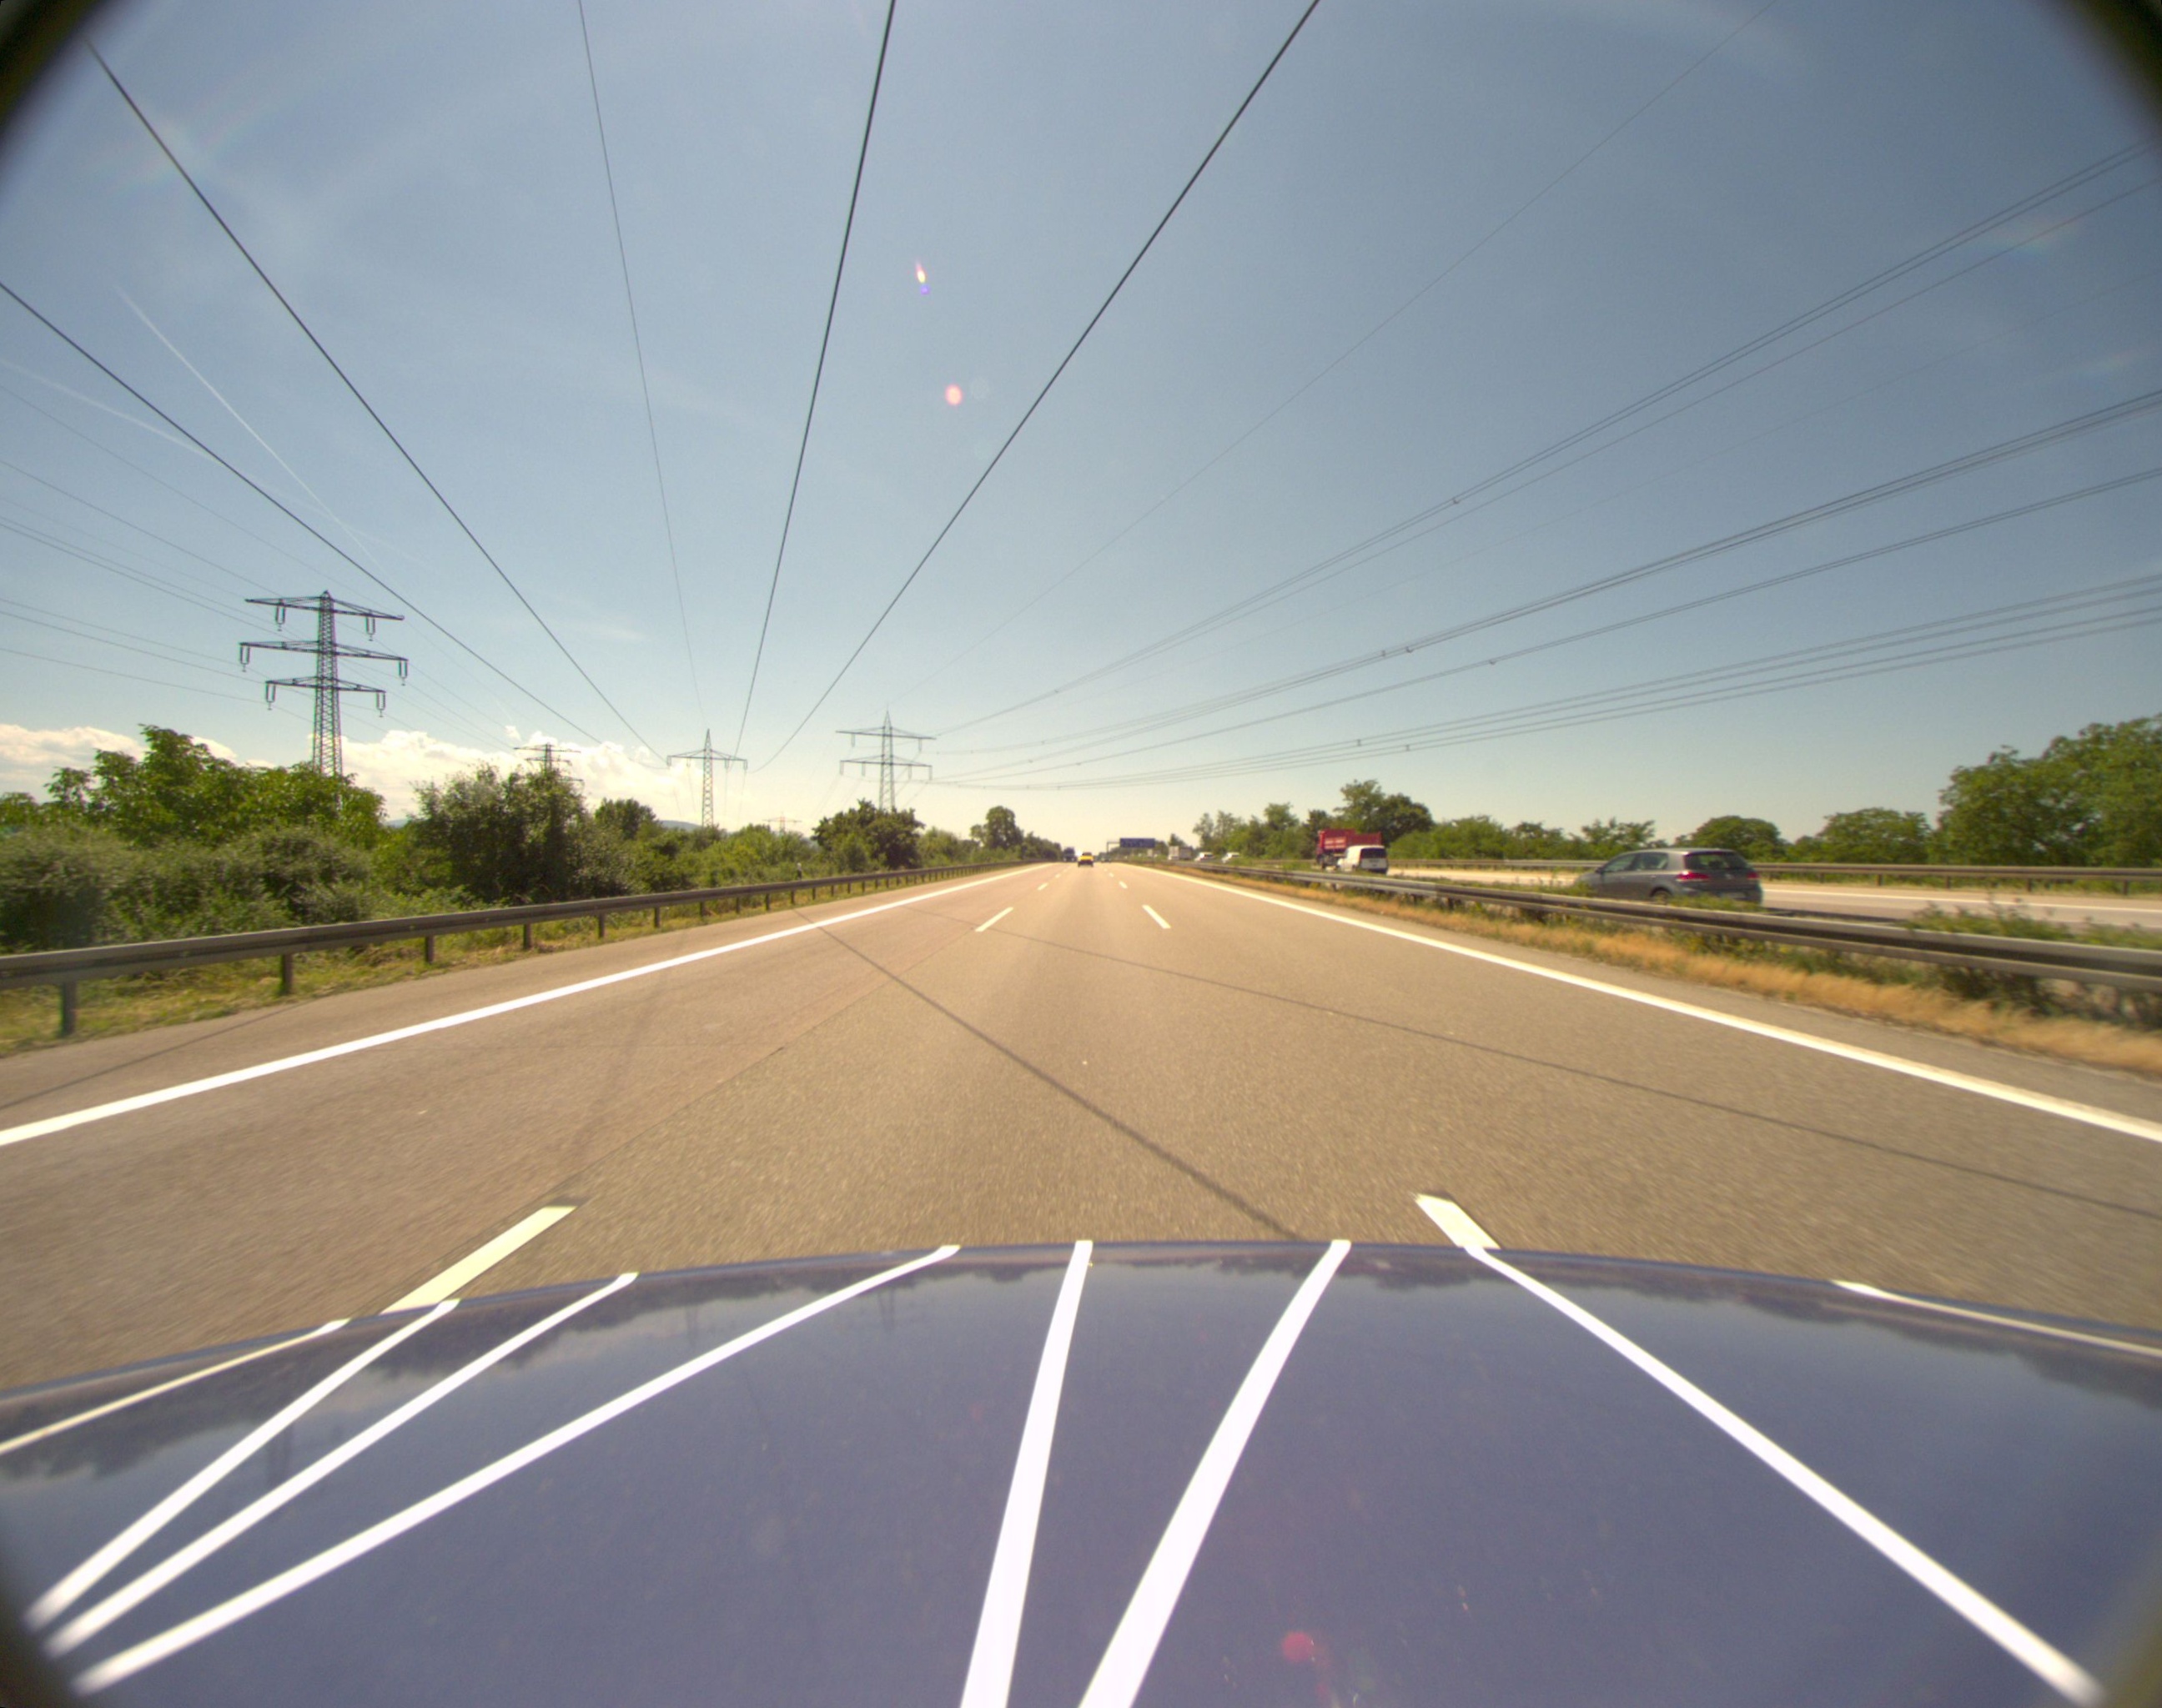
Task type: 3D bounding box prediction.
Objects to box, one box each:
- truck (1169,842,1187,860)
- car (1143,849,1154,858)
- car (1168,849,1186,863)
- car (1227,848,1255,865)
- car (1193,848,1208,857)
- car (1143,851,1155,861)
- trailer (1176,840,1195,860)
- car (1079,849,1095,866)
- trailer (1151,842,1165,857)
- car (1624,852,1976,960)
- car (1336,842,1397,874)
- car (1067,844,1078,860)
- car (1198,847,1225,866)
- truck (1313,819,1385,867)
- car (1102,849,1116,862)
[{"bbox_3d":[21.996,-0.681,172.286,2.699,3.926,10.593,-2,0,0],"label":"truck"},{"bbox_3d":[18.986,-0.139,214.104,2.489,2.564,7.121,-2,0,0],"label":"car"},{"bbox_3d":[14.460,0.349,114.517,1.998,2.002,4.921,-2,0,1],"label":"car"},{"bbox_3d":[17.302,0.235,82.369,1.998,1.750,4.534,-2,0,1],"label":"car"},{"bbox_3d":[21.804,-0.202,138.896,1.998,1.576,5.067,-2,0,1],"label":"car"},{"bbox_3d":[13.857,0.354,154.555,1.998,2.002,4.626,-2,0,1],"label":"car"},{"bbox_3d":[22.330,-0.872,162.855,2.848,4.140,8.327,-2,0,0],"label":"trailer"},{"bbox_3d":[0.736,0.481,93.844,1.955,2.002,5.433,0,0,0],"label":"car"},{"bbox_3d":[23.059,-1.304,228.001,2.429,4.264,14.432,-2,0,0],"label":"trailer"},{"bbox_3d":[12.894,0.812,14.240,1.833,1.609,5.017,-2,0,0],"label":"car"},{"bbox_3d":[16.569,0.234,44.343,1.976,1.763,4.368,-2,0,1],"label":"car"},{"bbox_3d":[-2.077,-0.530,183.961,2.686,3.723,6.271,0,0,0],"label":"car"},{"bbox_3d":[13.717,0.289,80.115,1.998,1.842,4.534,-2,0,1],"label":"car"},{"bbox_3d":[21.399,-0.824,61.197,2.777,3.506,8.533,-2,0,1],"label":"truck"},{"bbox_3d":[5.430,0.362,148.130,2.686,2.509,5.967,0,0,0],"label":"car"}]
